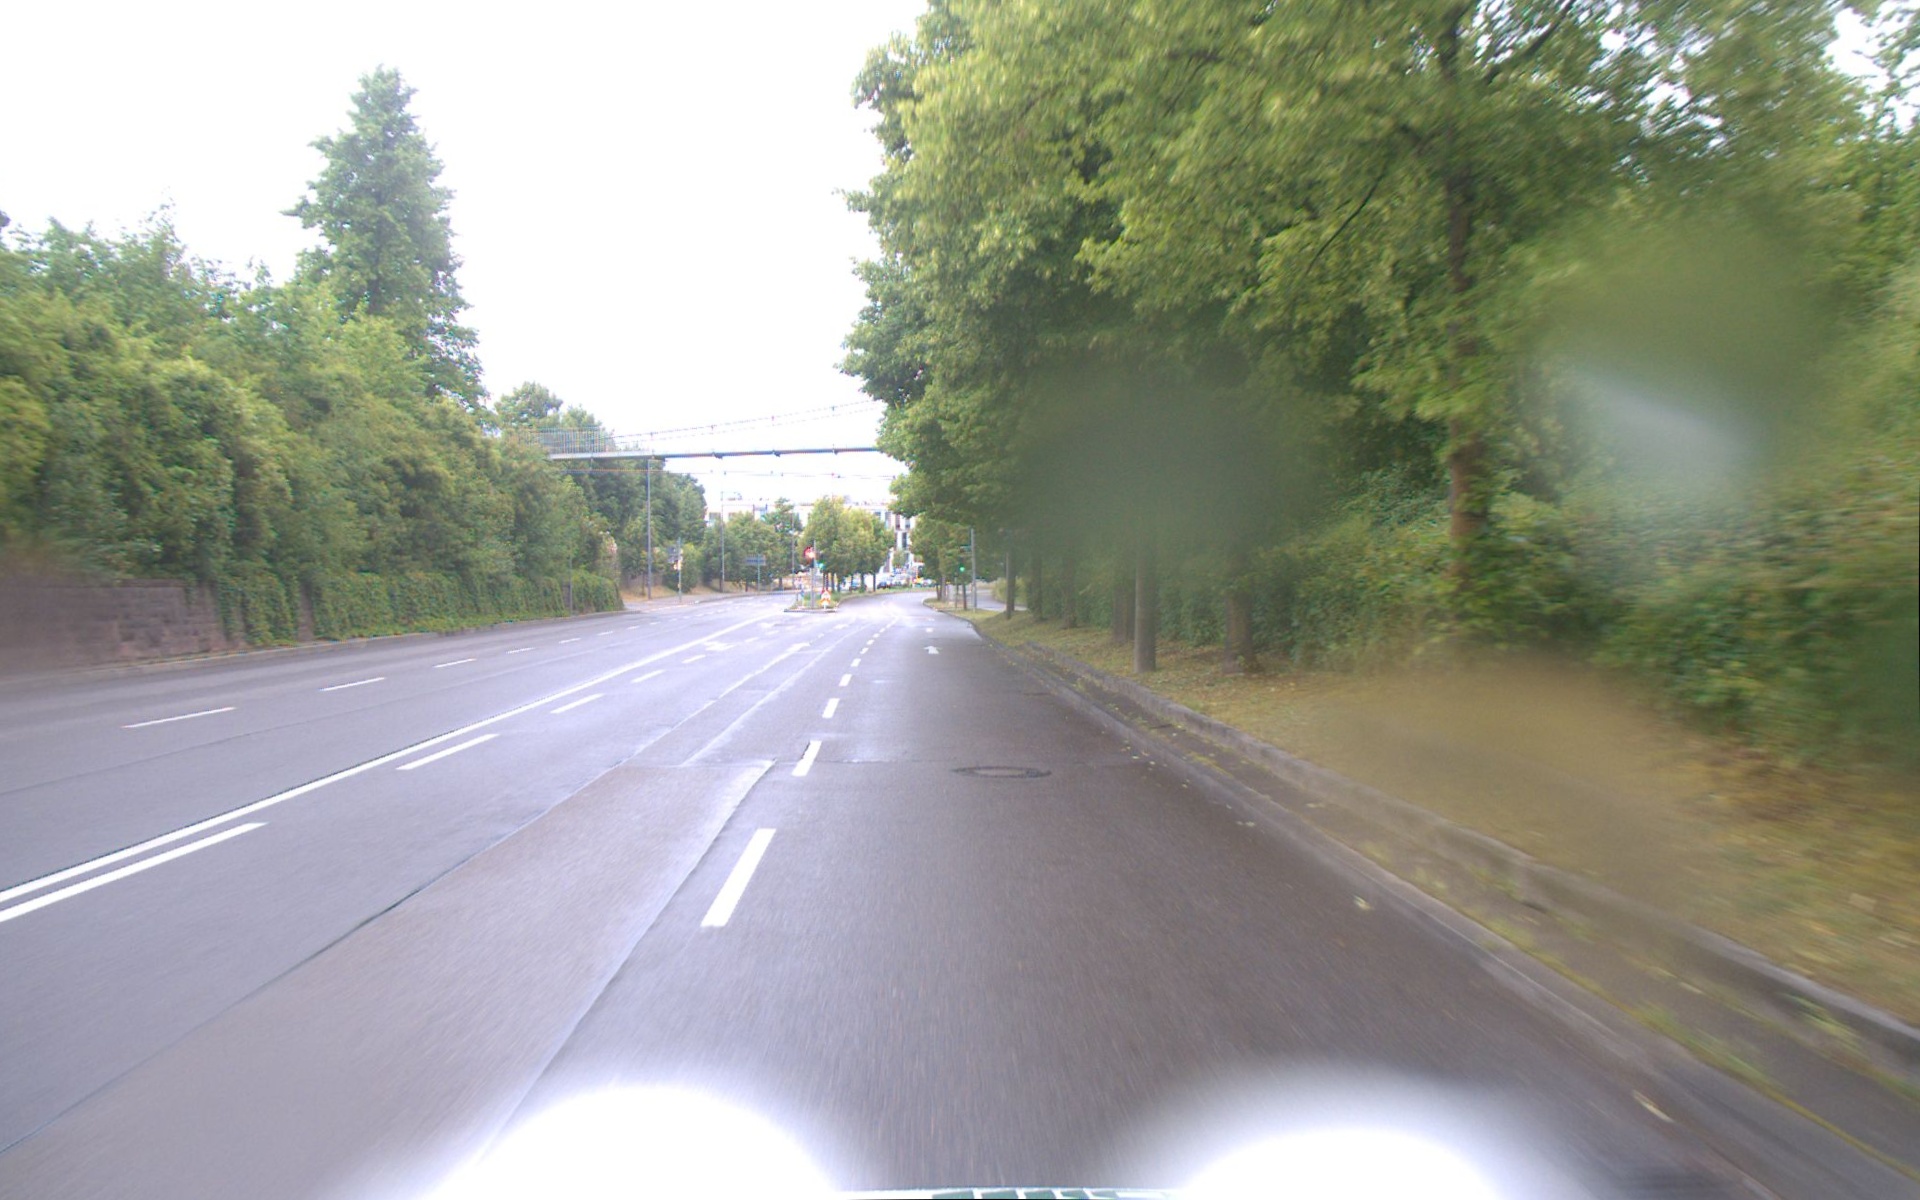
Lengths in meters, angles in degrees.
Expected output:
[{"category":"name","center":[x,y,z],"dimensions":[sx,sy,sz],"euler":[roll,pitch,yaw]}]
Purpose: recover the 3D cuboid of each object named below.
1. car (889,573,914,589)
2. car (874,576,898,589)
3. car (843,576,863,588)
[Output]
[{"category":"car","center":[-7.638,-2.475,216.026],"dimensions":[1.970,1.952,5.099],"euler":[1,0,12]},{"category":"car","center":[-9.779,-2.330,219.736],"dimensions":[1.841,1.623,4.770],"euler":[2,0,14]},{"category":"car","center":[-13.233,-2.235,204.540],"dimensions":[1.564,1.515,4.004],"euler":[1,1,11]}]
